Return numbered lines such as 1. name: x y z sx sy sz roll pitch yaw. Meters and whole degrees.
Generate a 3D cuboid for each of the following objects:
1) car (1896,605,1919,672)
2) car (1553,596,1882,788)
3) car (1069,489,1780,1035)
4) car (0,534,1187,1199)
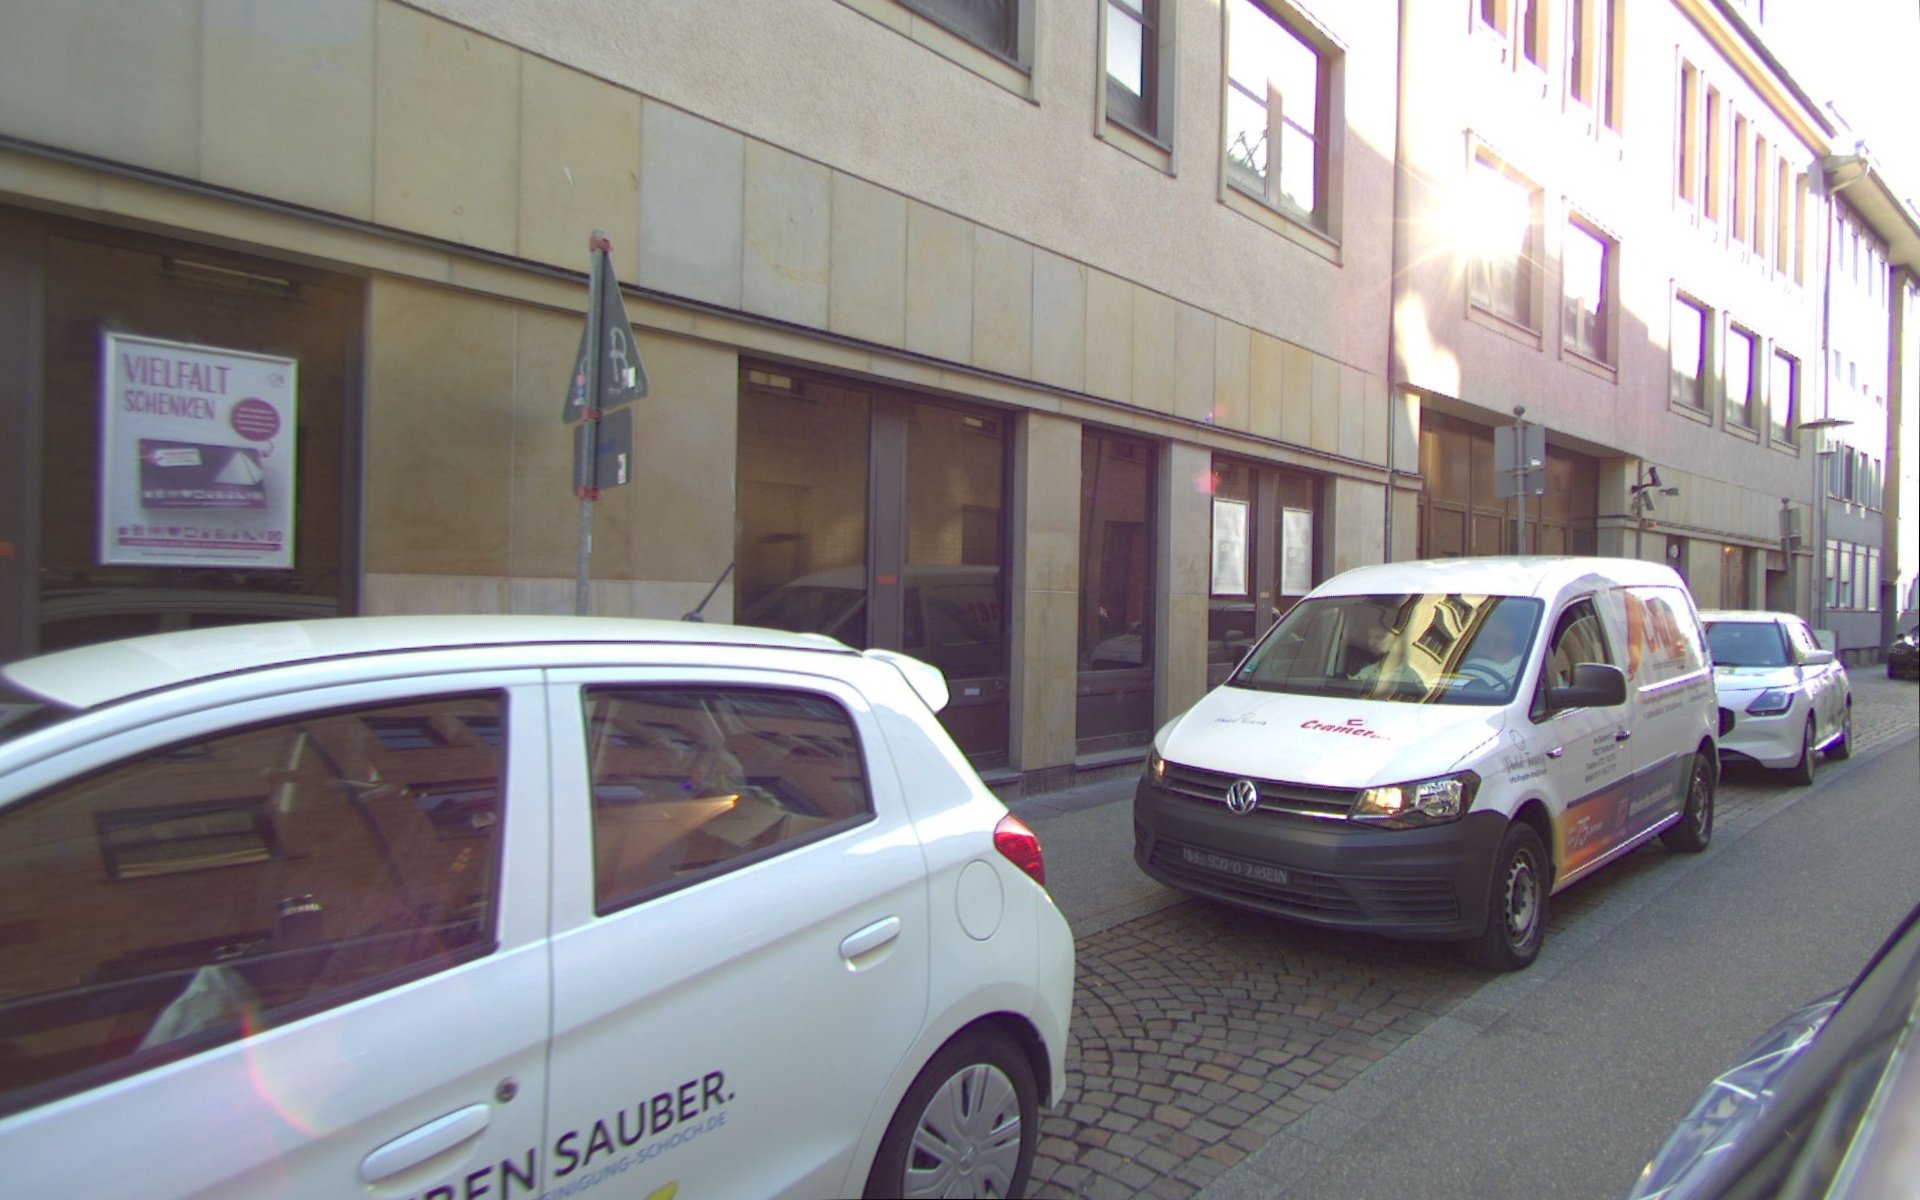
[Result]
1. car: 23.435 0.857 23.335 5.129 1.472 1.899 1 -1 -38
2. car: 7.575 0.751 9.972 4.096 1.497 1.842 1 -2 -42
3. car: 3.012 0.544 5.779 5.124 1.814 1.833 0 0 -42
4. car: -1.424 0.694 1.961 1.888 1.537 3.999 0 0 43
